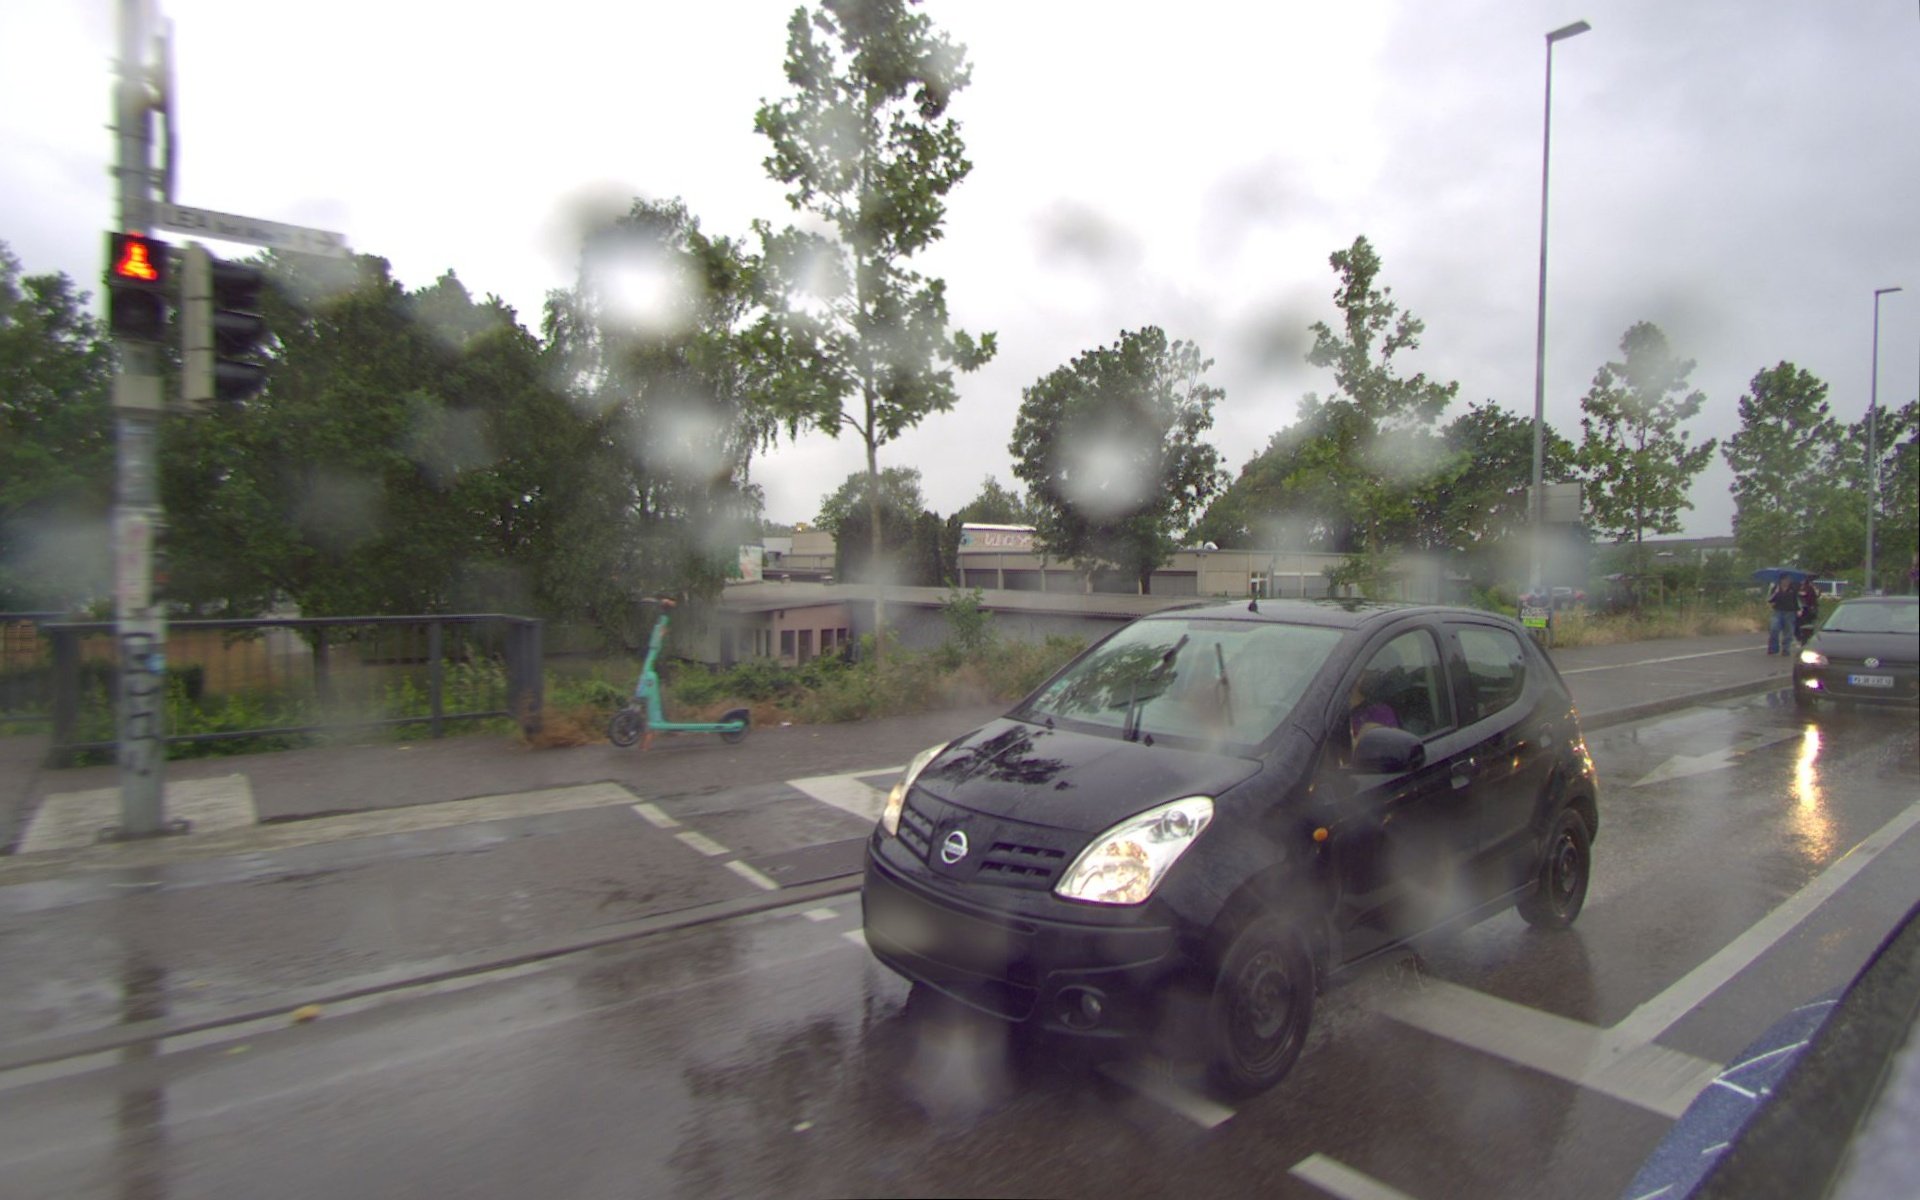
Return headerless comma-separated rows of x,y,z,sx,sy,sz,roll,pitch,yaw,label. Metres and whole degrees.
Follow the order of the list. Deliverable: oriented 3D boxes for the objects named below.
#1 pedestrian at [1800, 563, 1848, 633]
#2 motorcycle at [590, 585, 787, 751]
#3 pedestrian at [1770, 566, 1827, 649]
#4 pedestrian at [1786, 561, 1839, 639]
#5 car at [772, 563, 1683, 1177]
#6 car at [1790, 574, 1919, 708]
20.803,-0.064,24.374,0.638,1.631,0.734,-1,2,-39,pedestrian
-2.202,0.516,8.225,1.418,1.233,0.635,1,2,-27,motorcycle
16.857,0.131,20.358,0.607,1.631,0.734,-1,2,-39,pedestrian
18.434,-0.010,21.888,0.566,1.631,0.734,-1,2,-39,pedestrian
1.408,0.675,4.399,4.017,1.480,1.776,1,-1,-38,car
12.096,0.487,12.807,3.970,1.503,1.715,1,-1,-39,car
